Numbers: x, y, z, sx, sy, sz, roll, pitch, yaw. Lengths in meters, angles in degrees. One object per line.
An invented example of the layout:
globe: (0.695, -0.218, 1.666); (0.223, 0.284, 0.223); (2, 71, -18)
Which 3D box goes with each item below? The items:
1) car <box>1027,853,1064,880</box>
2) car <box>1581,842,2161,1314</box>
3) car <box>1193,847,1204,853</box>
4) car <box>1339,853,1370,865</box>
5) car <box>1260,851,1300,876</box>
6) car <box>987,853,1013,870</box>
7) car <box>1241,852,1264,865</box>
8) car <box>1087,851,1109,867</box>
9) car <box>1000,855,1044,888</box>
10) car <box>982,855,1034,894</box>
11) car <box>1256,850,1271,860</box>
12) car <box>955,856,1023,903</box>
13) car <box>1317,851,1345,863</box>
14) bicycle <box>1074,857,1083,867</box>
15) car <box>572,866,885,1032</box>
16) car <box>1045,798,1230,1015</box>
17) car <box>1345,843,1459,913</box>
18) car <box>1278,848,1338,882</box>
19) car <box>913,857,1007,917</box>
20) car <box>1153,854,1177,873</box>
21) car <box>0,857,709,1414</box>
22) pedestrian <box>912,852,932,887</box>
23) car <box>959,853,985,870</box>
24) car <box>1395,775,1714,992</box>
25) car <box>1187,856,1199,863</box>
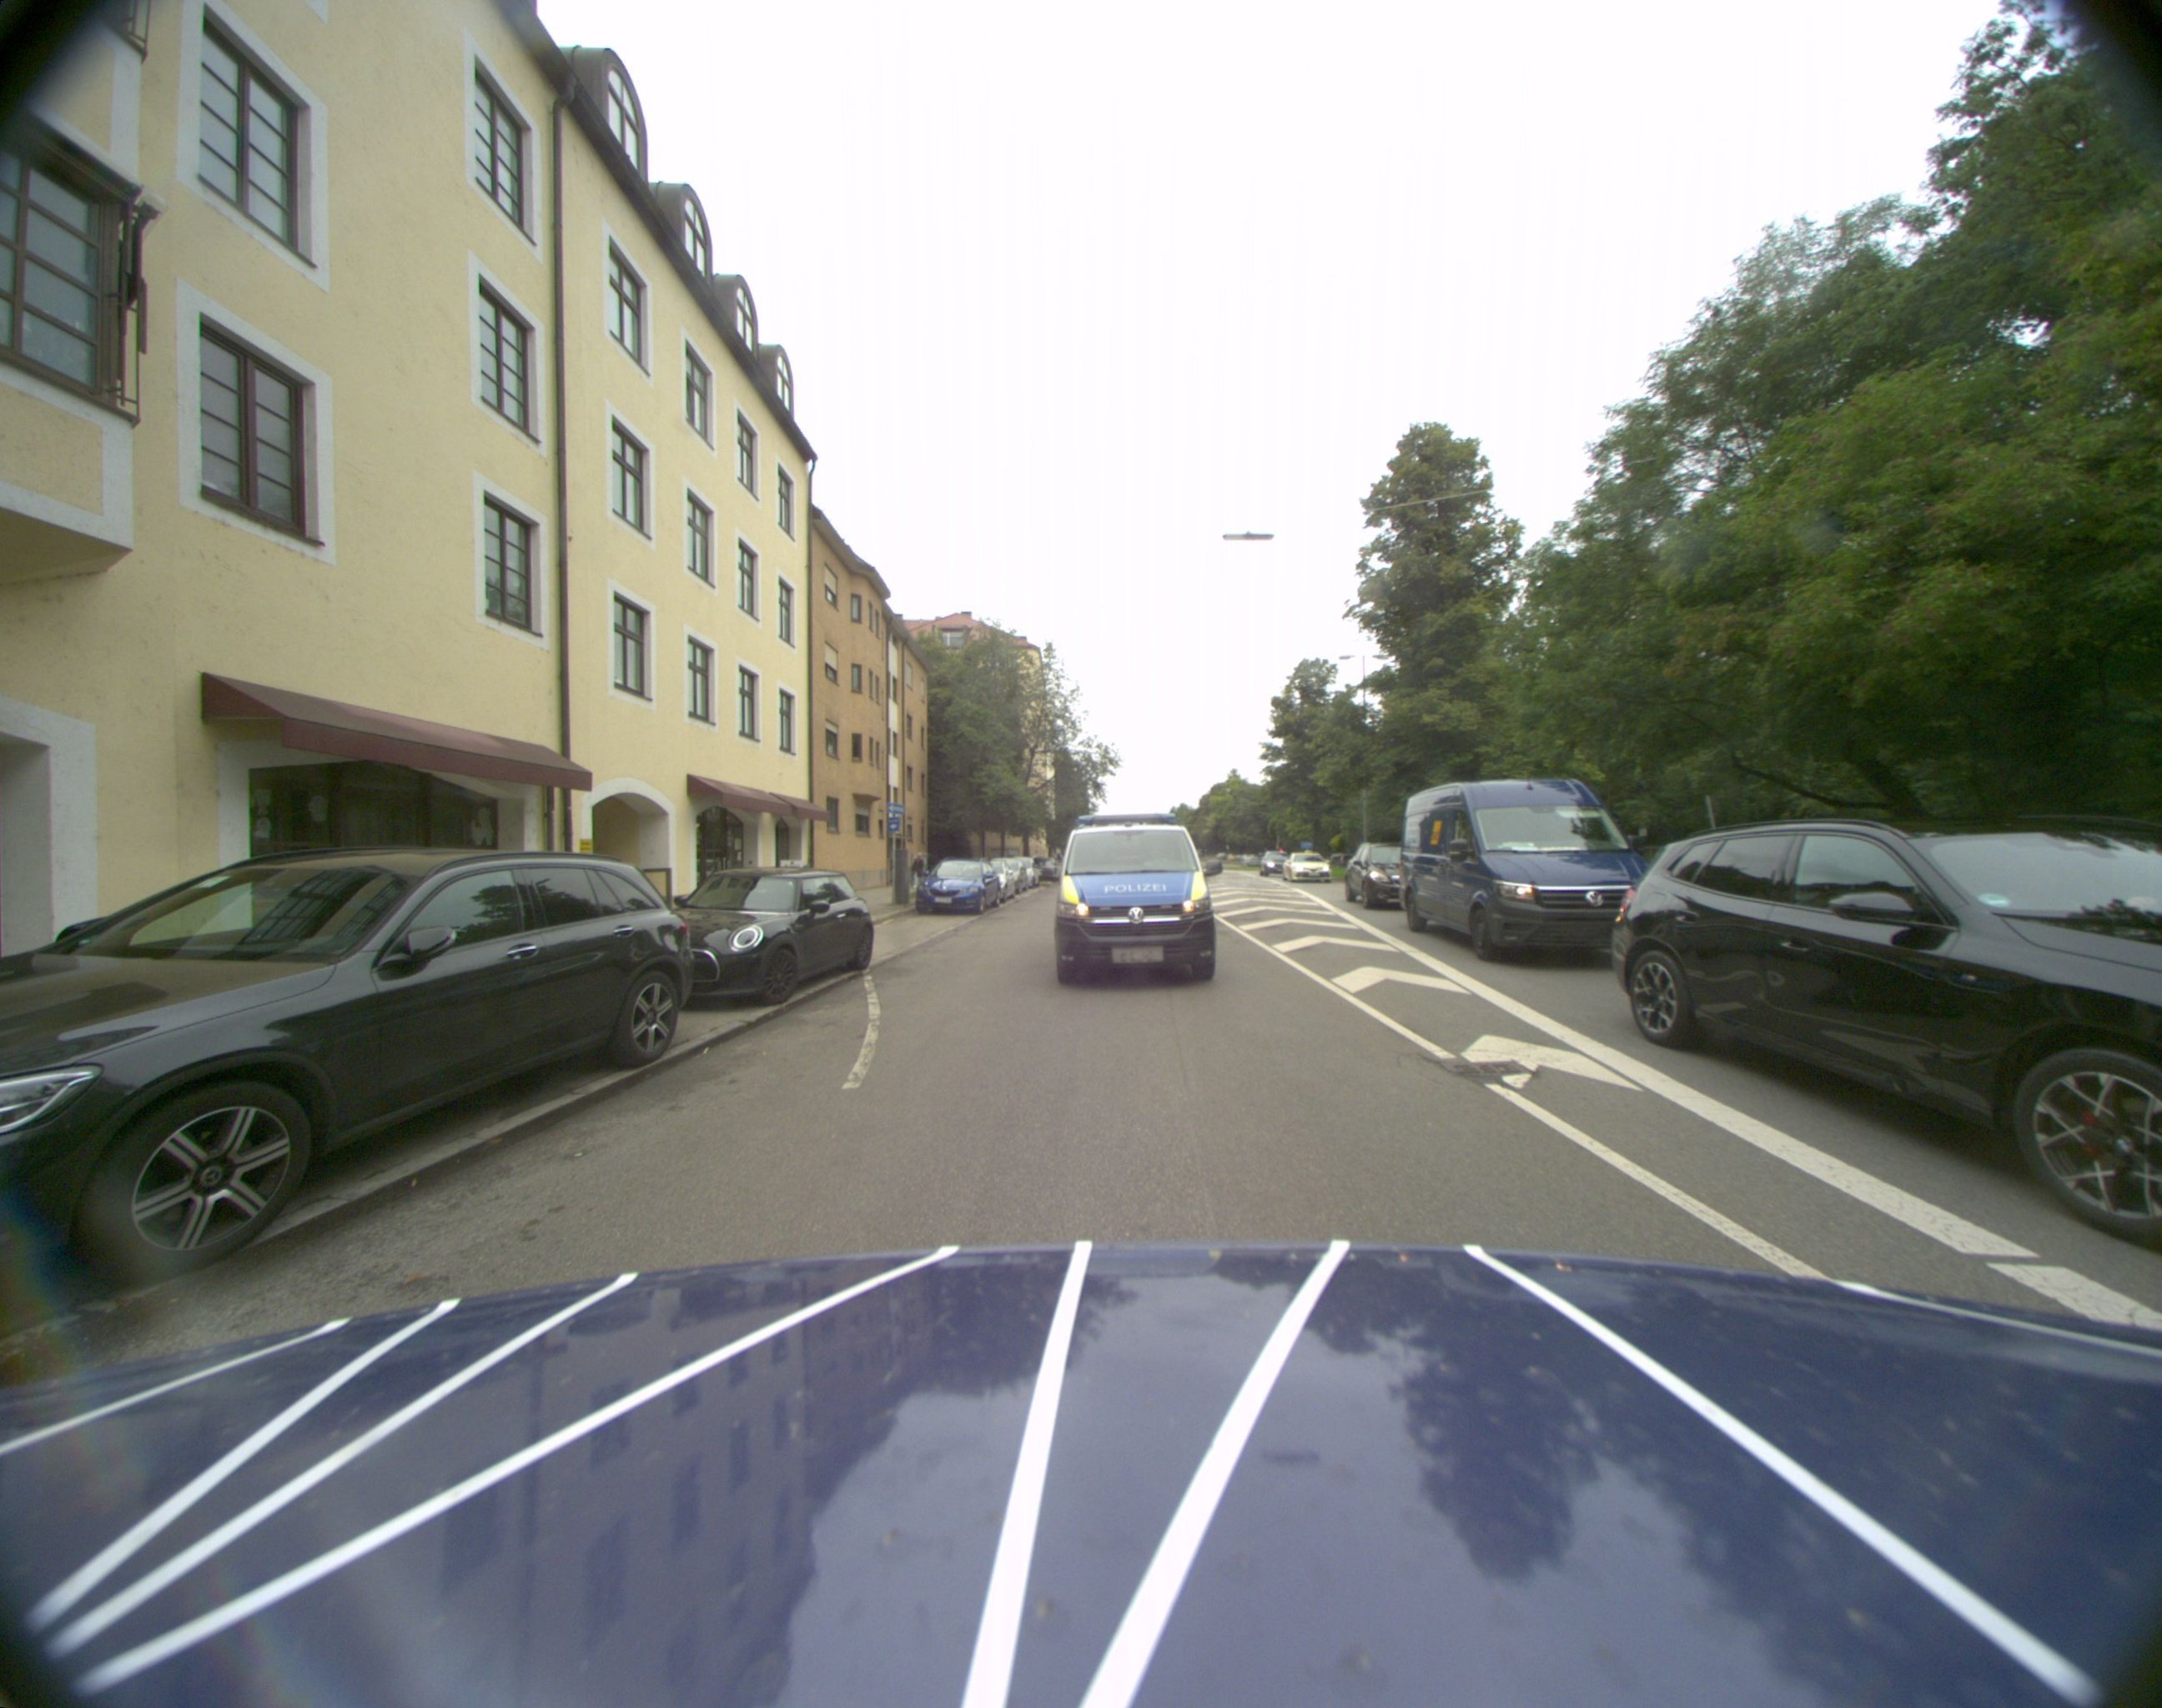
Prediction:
car: (-2.074, 0.724, 45.751); (1.796, 1.488, 4.376); (2, 0, 2)
car: (4.908, 0.746, 4.078); (1.916, 1.577, 4.833); (0, 1, 9)
car: (29.958, -0.983, 193.519); (1.897, 1.438, 4.032); (0, 0, -4)
car: (33.741, 0.629, 93.935); (1.999, 1.438, 4.524); (1, 0, -3)
car: (12.959, 0.588, 49.705); (1.991, 1.556, 4.275); (0, 0, 8)
car: (-7.249, 0.658, 68.452); (2.054, 1.458, 4.244); (0, 0, -2)
car: (23.469, 0.637, 104.046); (1.999, 1.742, 4.524); (-2, 0, -3)
car: (1.793, 0.506, 78.216); (2.129, 1.556, 4.507); (-1, 0, 2)
car: (-2.790, 0.800, 36.702); (1.631, 1.487, 3.821); (1, 0, 3)
car: (-3.009, 0.826, 31.939); (1.631, 1.487, 3.787); (1, 0, 3)
car: (32.770, 0.138, 136.603); (1.885, 1.736, 4.000); (-1, 0, 1)
car: (-3.133, 0.831, 26.775); (1.694, 1.487, 4.434); (1, 0, 2)
car: (33.443, 0.438, 101.604); (1.999, 1.526, 4.705); (1, 0, -3)
bicycle: (-0.254, 0.777, 75.635); (0.632, 1.031, 1.736); (0, 0, 7)
car: (-3.911, 0.944, 9.236); (1.760, 1.487, 3.824); (1, 0, 5)
car: (0.685, 0.504, 9.991); (1.856, 2.198, 4.553); (-1, 1, 3)
car: (8.209, 0.553, 19.857); (1.990, 1.618, 4.277); (0, 0, 12)
car: (11.039, 0.481, 37.287); (1.991, 1.556, 4.656); (0, 0, 6)
car: (-3.315, 0.849, 21.655); (1.760, 1.487, 4.488); (1, 0, 3)
car: (7.170, 0.752, 64.789); (1.902, 1.556, 4.773); (0, 0, 7)
car: (-4.142, 0.881, 4.142); (1.760, 1.669, 4.707); (1, 0, 2)
pedestrian: (-7.440, 0.708, 35.580); (0.672, 1.614, 0.980); (-1, 2, 3)
car: (-9.784, 0.682, 68.417); (1.917, 1.458, 4.244); (0, 0, -2)
car: (6.592, 0.280, 11.635); (2.187, 2.450, 5.855); (0, 1, 11)
car: (23.368, 1.160, 158.890); (1.865, 1.549, 4.000); (-1, 0, 1)
